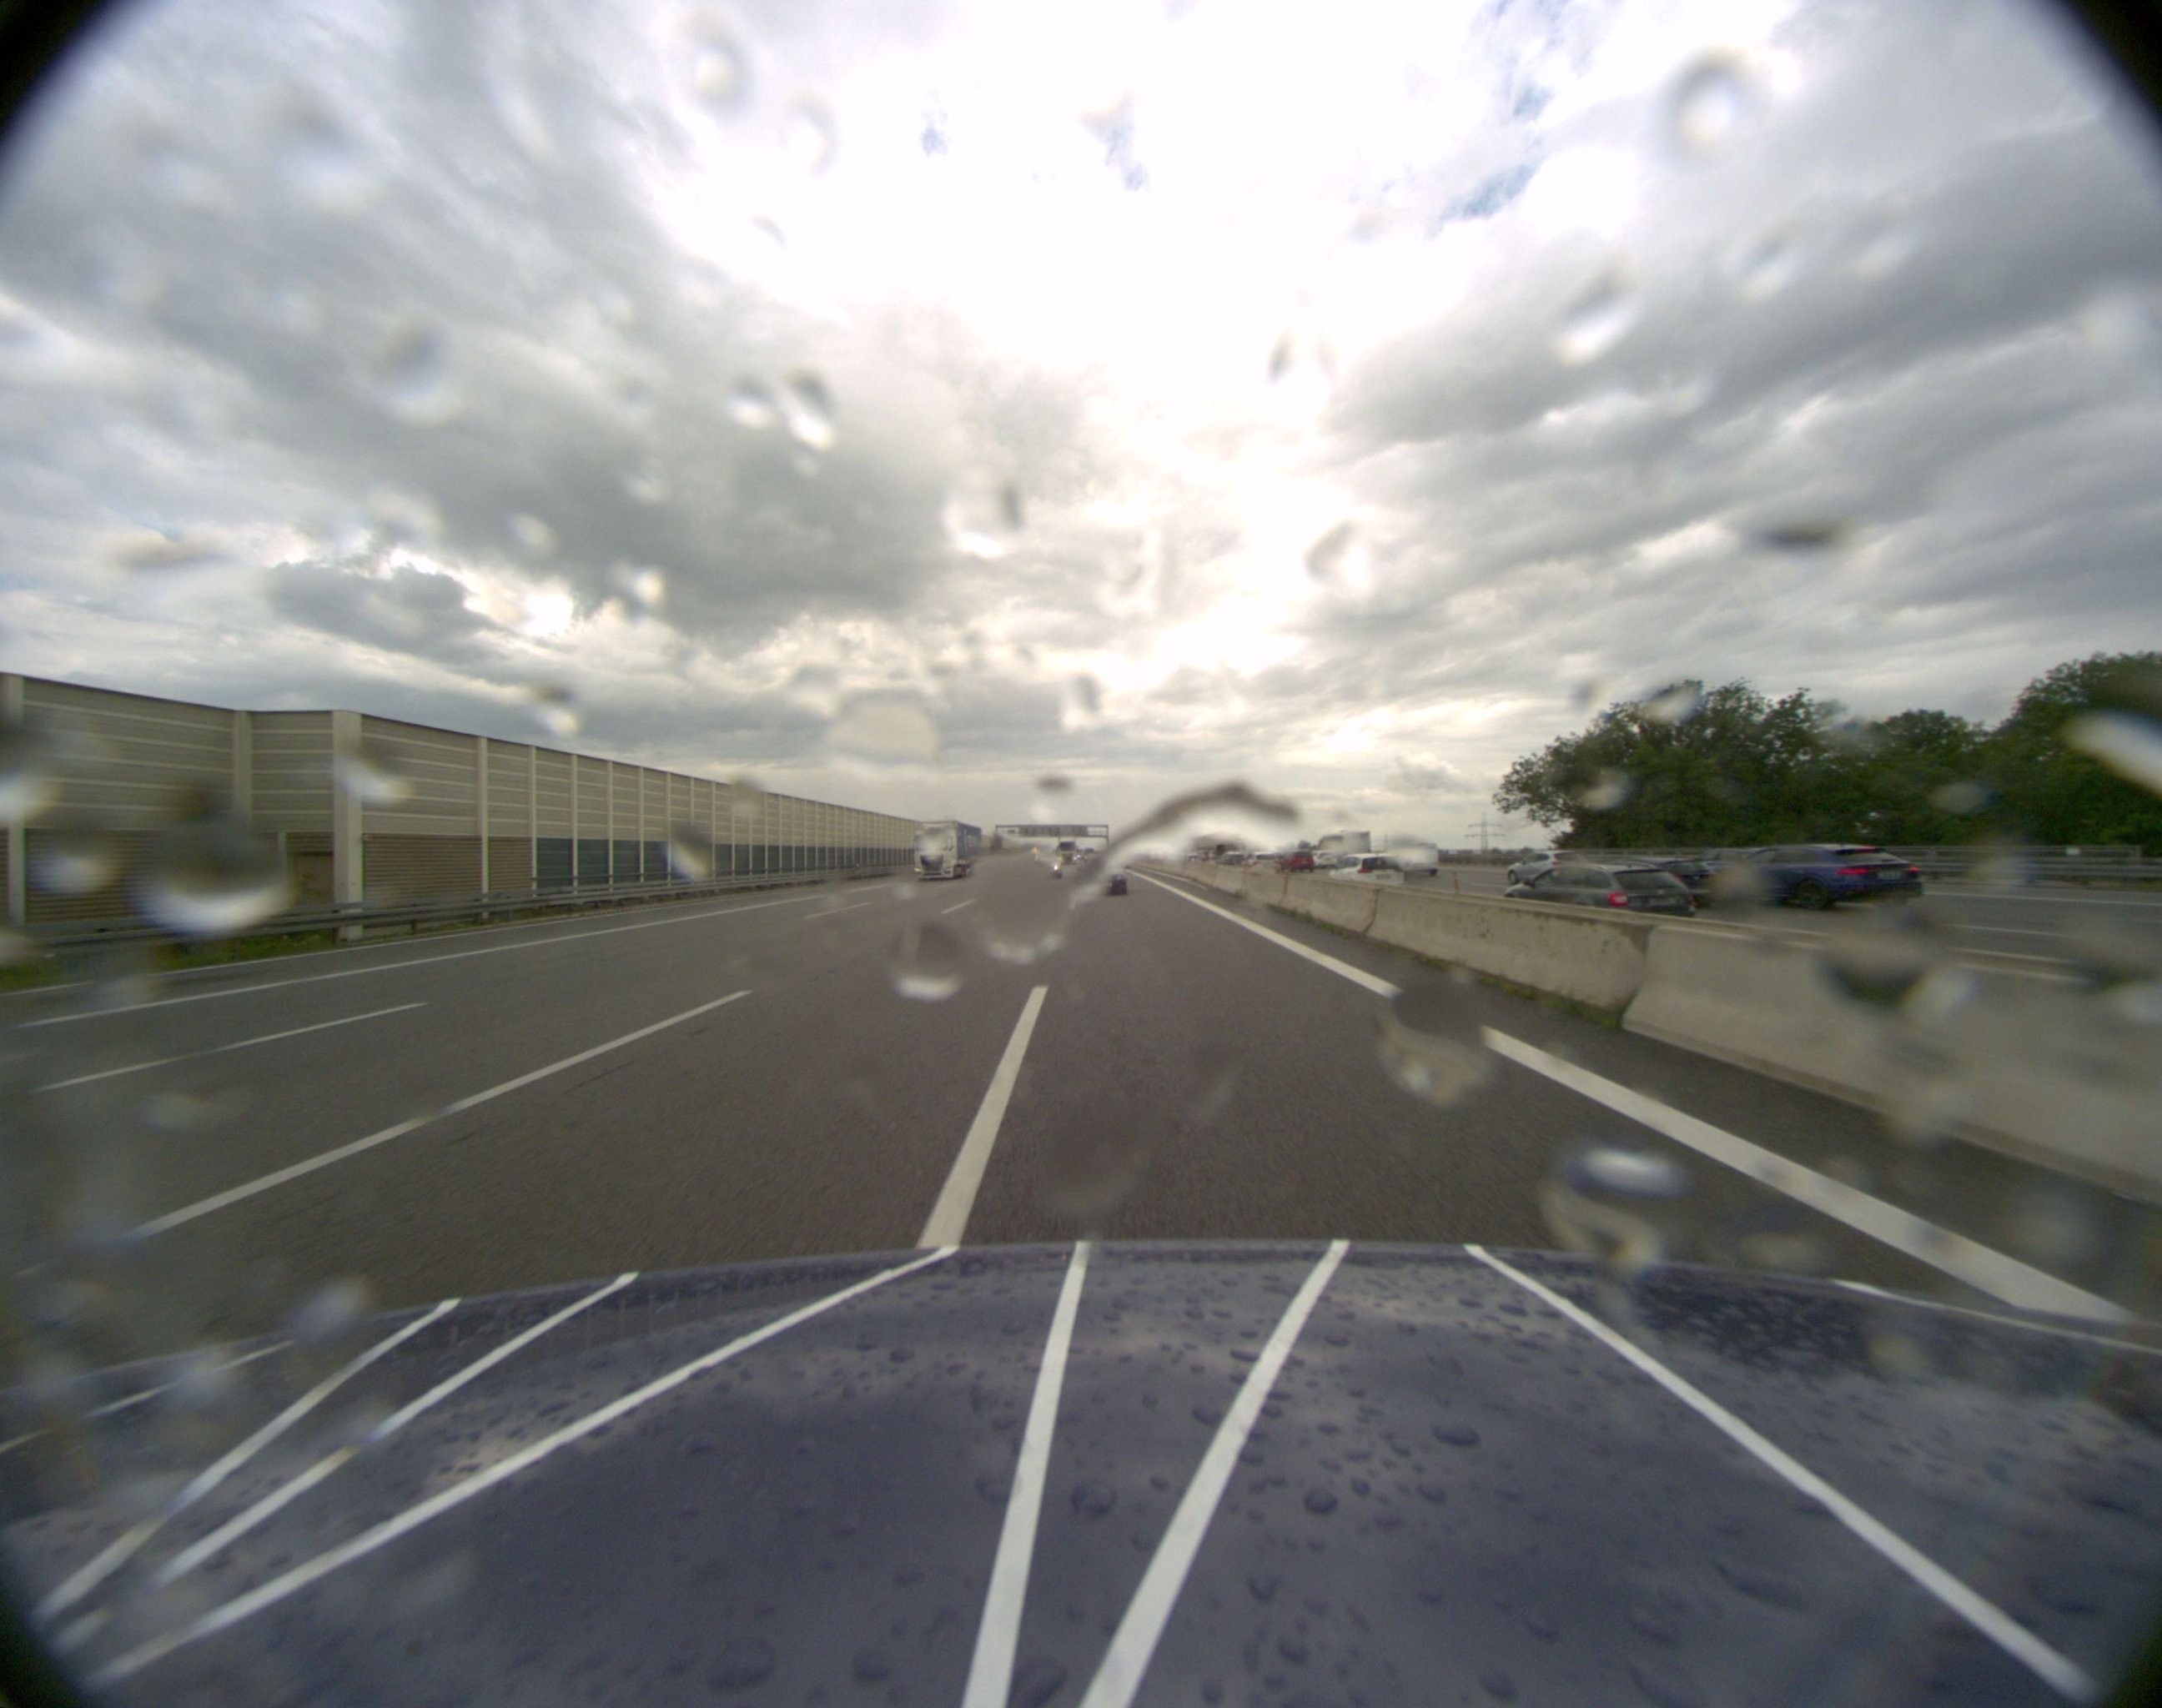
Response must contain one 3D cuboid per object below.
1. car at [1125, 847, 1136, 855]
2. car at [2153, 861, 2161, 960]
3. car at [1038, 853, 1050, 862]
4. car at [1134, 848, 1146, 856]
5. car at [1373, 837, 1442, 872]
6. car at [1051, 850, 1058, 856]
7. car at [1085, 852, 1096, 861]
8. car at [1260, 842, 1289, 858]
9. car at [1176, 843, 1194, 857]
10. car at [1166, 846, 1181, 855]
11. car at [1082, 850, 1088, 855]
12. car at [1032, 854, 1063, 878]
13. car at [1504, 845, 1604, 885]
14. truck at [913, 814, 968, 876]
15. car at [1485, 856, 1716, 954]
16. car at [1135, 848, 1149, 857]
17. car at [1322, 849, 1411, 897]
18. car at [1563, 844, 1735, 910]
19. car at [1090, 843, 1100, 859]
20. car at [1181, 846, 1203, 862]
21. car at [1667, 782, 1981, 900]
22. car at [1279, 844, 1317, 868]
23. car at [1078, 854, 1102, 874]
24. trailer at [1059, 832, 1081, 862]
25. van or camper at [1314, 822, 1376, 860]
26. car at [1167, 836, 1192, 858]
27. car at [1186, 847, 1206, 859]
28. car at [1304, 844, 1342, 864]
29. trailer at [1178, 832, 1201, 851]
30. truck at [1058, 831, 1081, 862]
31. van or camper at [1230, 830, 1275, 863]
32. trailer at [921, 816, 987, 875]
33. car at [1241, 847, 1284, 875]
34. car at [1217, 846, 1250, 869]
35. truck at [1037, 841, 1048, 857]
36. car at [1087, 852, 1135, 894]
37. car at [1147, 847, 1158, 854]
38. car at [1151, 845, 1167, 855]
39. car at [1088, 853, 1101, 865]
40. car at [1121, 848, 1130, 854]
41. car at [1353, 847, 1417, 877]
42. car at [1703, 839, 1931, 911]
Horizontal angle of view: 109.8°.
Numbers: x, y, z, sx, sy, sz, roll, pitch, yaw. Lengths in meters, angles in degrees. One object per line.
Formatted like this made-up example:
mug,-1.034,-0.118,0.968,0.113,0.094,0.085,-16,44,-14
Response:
car,11.970,-0.772,184.509,2.065,1.869,6.327,-1,1,0
car,16.240,0.829,8.807,1.727,1.410,4.201,-1,1,2
car,-5.707,0.559,117.837,1.698,1.395,4.000,-2,0,0
car,12.611,-0.444,162.828,2.065,1.526,5.469,-1,1,0
car,19.673,-0.026,46.043,1.692,1.925,5.547,-3,1,0
car,-6.948,-0.241,200.306,1.698,1.395,4.000,-2,0,0
car,1.470,0.364,118.855,1.498,1.395,4.000,-2,0,0
car,20.032,-0.447,78.938,1.852,1.538,5.018,-3,1,2
car,16.770,-0.690,122.478,2.065,2.223,5.893,-1,1,0
car,17.596,-0.754,144.731,2.065,1.636,6.119,-1,1,0
car,1.158,-0.494,209.704,1.698,1.395,4.000,-2,0,0
car,-2.081,0.712,48.319,1.732,1.395,4.000,-2,0,1
car,19.830,0.426,32.050,1.727,1.470,3.959,-3,1,0
truck,-9.744,-0.625,53.287,2.752,4.011,5.725,-2,0,0
car,10.992,0.956,16.627,1.727,1.636,4.992,-3,1,2
car,11.631,-0.362,144.977,2.065,1.636,5.379,-1,1,0
car,11.317,0.676,30.495,1.727,1.636,4.997,-3,1,1
car,16.405,0.582,22.271,1.727,1.636,4.519,-3,1,2
car,2.611,-0.595,144.141,1.645,3.041,4.589,-2,0,1
car,11.908,-0.034,81.642,1.727,1.636,4.519,-3,1,2
car,24.116,-0.430,25.489,2.735,3.221,7.937,-3,1,0
car,16.491,0.126,57.956,1.727,1.636,4.519,-3,1,2
car,0.773,0.767,60.341,1.776,1.451,4.480,-2,0,2
trailer,-1.642,-1.044,116.639,2.926,4.188,13.195,-3,0,0
van or camper,23.765,-1.169,68.984,2.631,3.105,8.475,-3,1,0
car,13.040,-0.882,101.380,2.236,2.733,9.165,-2,-1,1
car,16.529,-0.153,109.325,2.065,1.526,4.518,-1,1,0
car,20.254,-0.030,63.784,1.727,1.448,5.018,-3,1,2
trailer,23.753,-2.644,166.841,2.939,4.008,14.451,-2,0,0
truck,-1.619,-1.075,109.964,2.913,4.146,5.192,-3,0,0
van or camper,16.883,-0.769,75.272,2.631,2.934,7.357,-3,1,0
trailer,-9.779,-0.608,60.447,2.768,4.008,14.451,-2,0,0
car,12.062,0.417,50.844,1.727,1.636,5.061,-3,1,2
car,12.282,0.250,61.294,1.727,1.636,5.061,-3,1,2
truck,-10.604,-1.405,209.632,2.600,4.088,11.367,-2,0,-4
car,1.073,0.650,27.944,1.578,1.395,4.000,-2,0,1
car,16.375,-0.755,174.313,2.065,1.526,5.469,-1,1,0
car,12.543,-0.616,122.406,2.065,1.526,5.469,-1,1,0
car,1.687,0.602,92.499,1.498,1.395,4.000,-2,0,1
car,11.648,-0.892,200.432,2.065,1.525,4.996,-1,1,0
car,16.486,0.399,41.420,1.727,1.407,4.519,-3,1,2
car,19.229,0.454,20.198,1.727,1.636,4.519,-3,1,2
